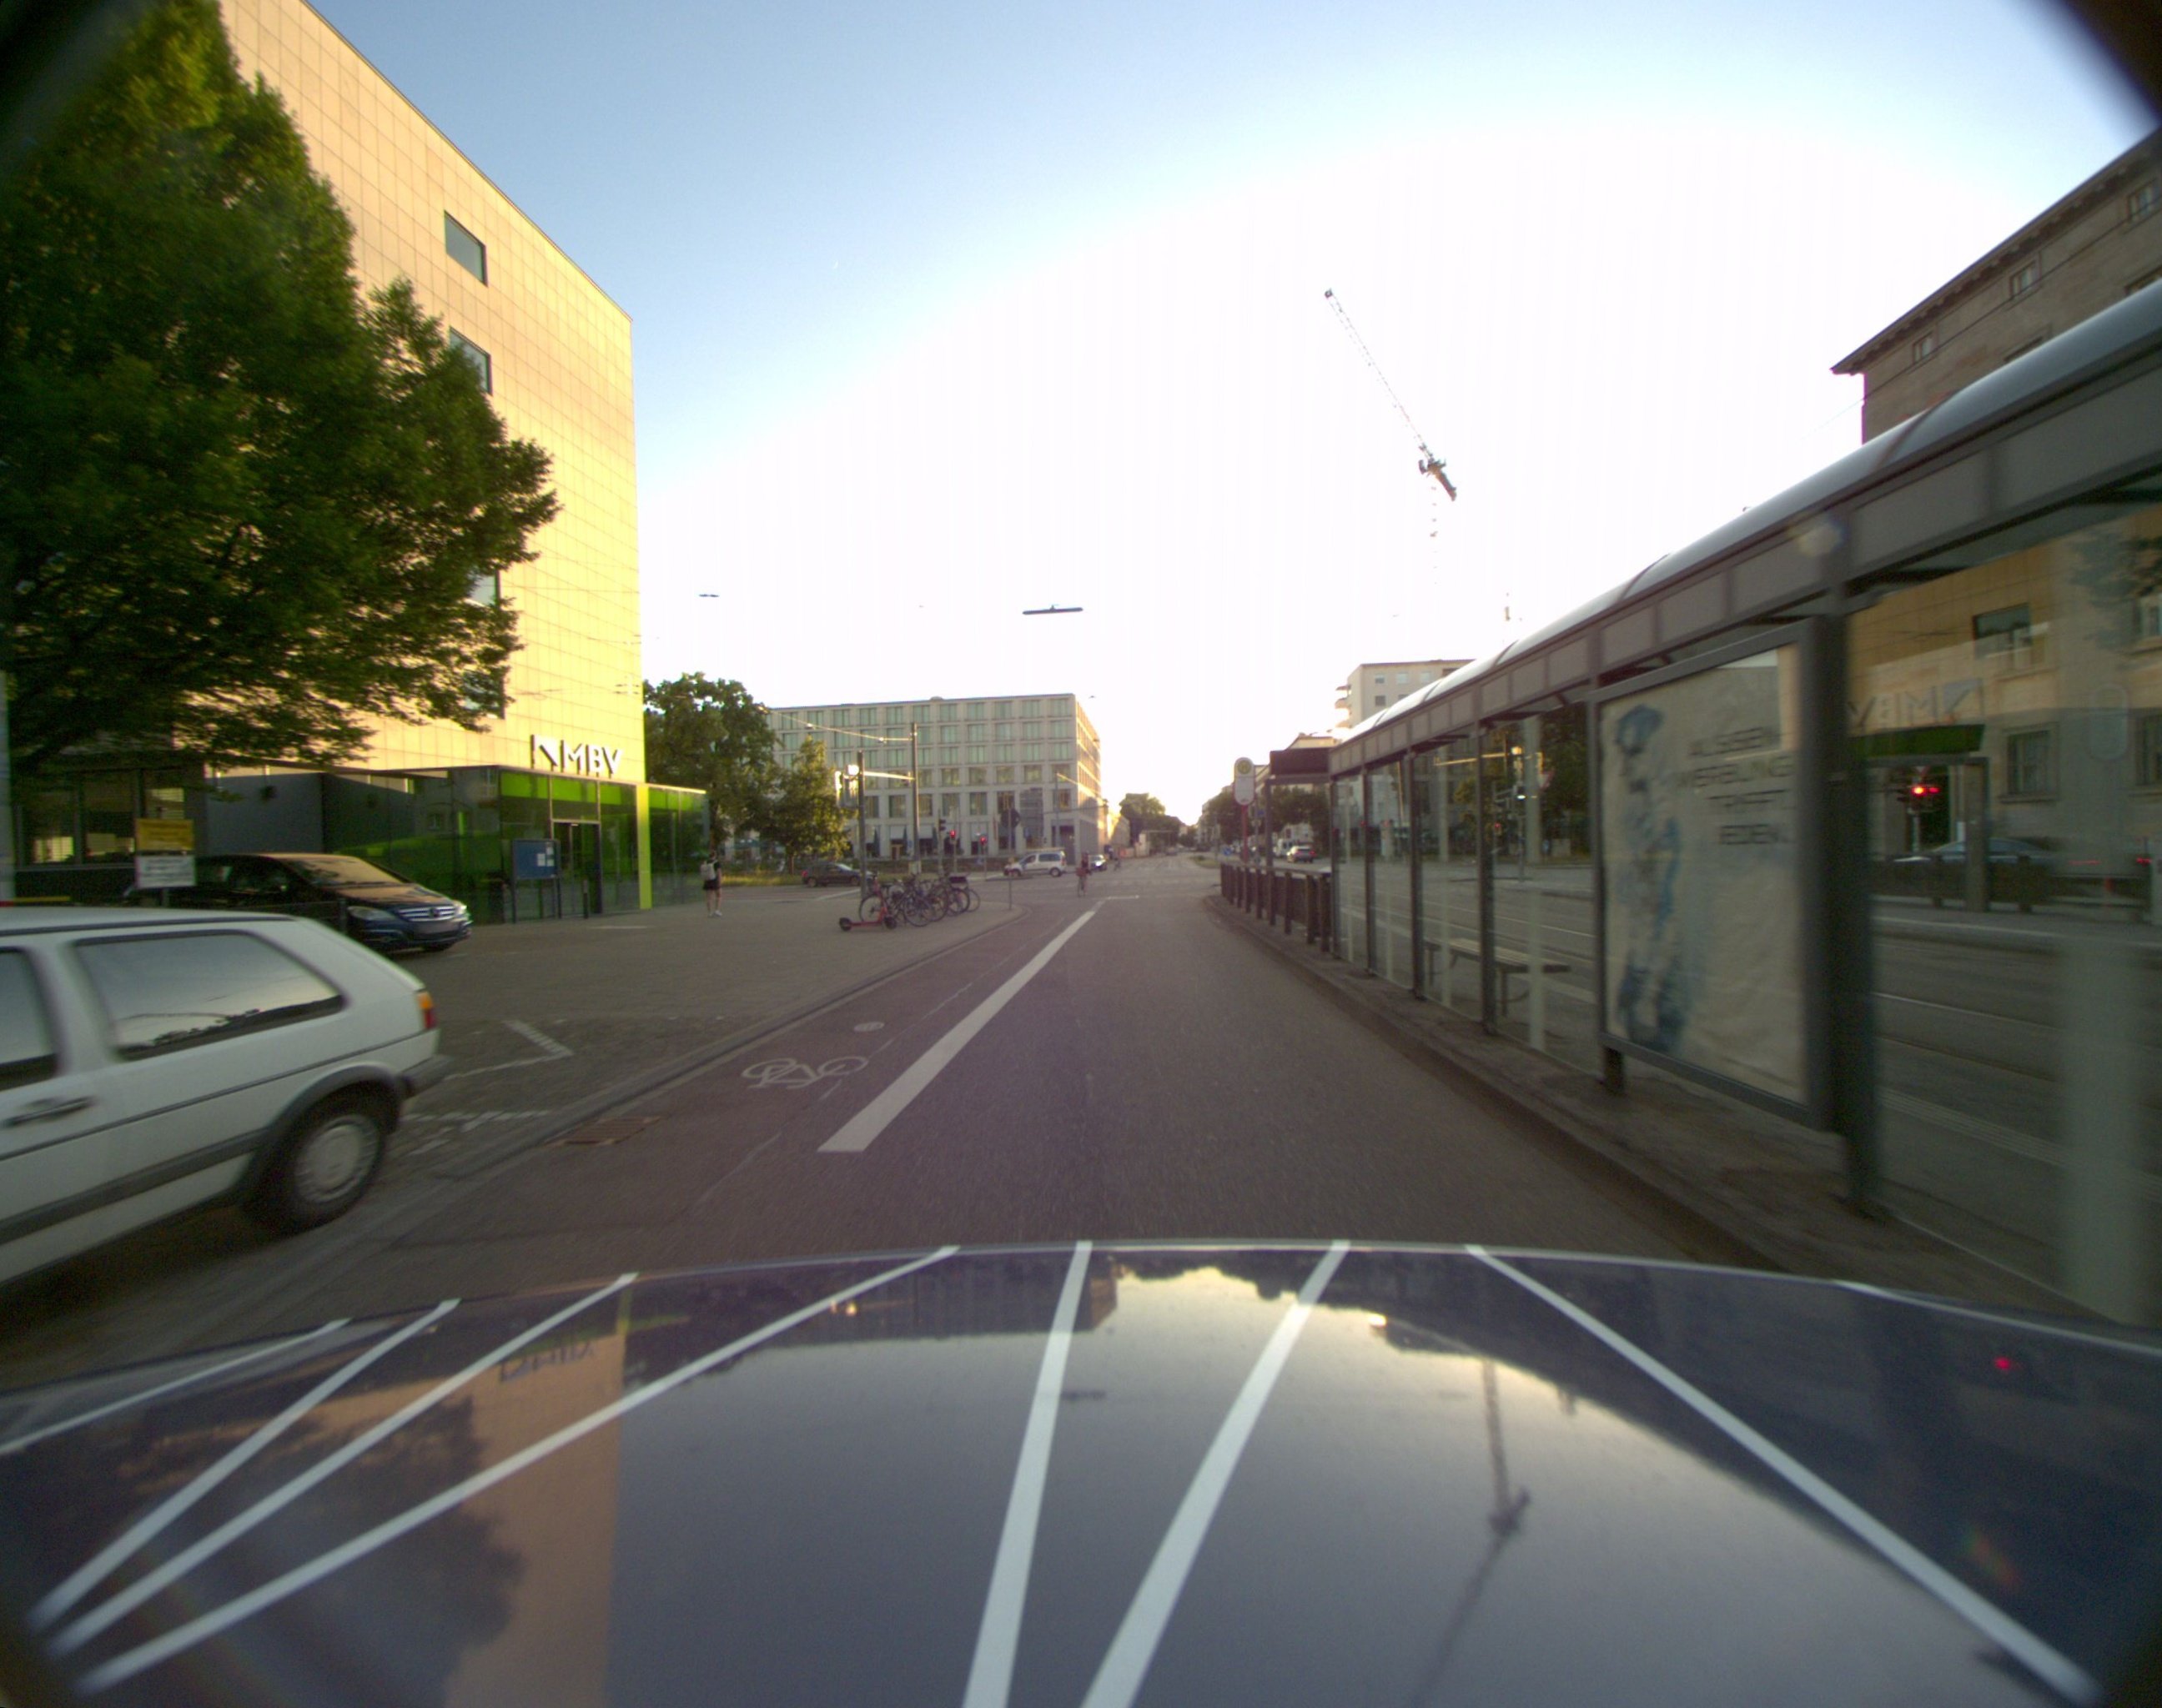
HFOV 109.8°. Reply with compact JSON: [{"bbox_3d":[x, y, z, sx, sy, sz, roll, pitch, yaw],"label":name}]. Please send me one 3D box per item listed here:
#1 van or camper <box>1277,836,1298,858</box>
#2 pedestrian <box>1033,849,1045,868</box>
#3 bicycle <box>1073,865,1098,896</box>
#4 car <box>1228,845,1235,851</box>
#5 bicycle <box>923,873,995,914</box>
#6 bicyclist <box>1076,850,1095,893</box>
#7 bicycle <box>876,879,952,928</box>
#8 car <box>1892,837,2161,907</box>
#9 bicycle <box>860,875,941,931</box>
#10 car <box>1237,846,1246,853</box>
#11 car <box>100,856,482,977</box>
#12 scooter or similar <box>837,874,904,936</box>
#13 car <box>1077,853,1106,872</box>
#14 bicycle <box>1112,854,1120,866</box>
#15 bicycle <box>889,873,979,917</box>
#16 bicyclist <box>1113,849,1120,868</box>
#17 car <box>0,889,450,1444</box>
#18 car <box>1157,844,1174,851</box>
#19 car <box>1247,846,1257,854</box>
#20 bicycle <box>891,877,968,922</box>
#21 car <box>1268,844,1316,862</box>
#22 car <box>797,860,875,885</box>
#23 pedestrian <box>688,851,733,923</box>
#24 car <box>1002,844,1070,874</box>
[{"bbox_3d":[27.150,-0.882,100.004,2.109,2.665,4.715,-2,-2,9],"label":"van or camper"},{"bbox_3d":[-3.602,0.411,65.097,0.736,1.617,0.727,-1,1,39],"label":"pedestrian"},{"bbox_3d":[0.194,0.992,29.324,0.609,1.108,2.087,-1,0,9],"label":"bicycle"},{"bbox_3d":[39.542,-1.517,199.386,1.721,1.422,3.812,-1,0,10],"label":"car"},{"bbox_3d":[-3.432,1.107,21.299,1.861,1.068,0.745,-1,1,24],"label":"bicycle"},{"bbox_3d":[0.182,0.681,29.224,0.609,1.626,0.597,-1,1,8],"label":"bicyclist"},{"bbox_3d":[-3.901,1.146,17.802,1.554,1.068,0.744,-2,1,9],"label":"bicycle"},{"bbox_3d":[22.009,0.364,17.880,1.646,1.419,4.234,-2,0,7],"label":"car"},{"bbox_3d":[-3.961,1.069,16.718,1.529,1.156,0.744,-2,1,9],"label":"bicycle"},{"bbox_3d":[34.789,-0.948,164.907,1.721,1.422,3.812,-1,0,10],"label":"car"},{"bbox_3d":[-11.414,0.867,11.145,3.992,1.564,1.805,-1,0,7],"label":"car"},{"bbox_3d":[-4.333,1.038,15.676,1.202,1.218,0.591,0,1,7],"label":"scooter or similar"},{"bbox_3d":[0.993,0.753,69.407,1.814,1.514,4.814,-3,0,11],"label":"car"},{"bbox_3d":[3.119,0.549,67.059,0.540,1.045,1.762,-1,0,8],"label":"bicycle"},{"bbox_3d":[-3.916,1.092,20.344,2.234,1.125,0.744,0,1,9],"label":"bicycle"},{"bbox_3d":[3.104,0.418,67.050,0.540,1.626,0.597,-1,1,7],"label":"bicyclist"},{"bbox_3d":[-4.059,0.980,1.908,1.684,1.544,3.999,1,0,-2],"label":"car"},{"bbox_3d":[19.272,-1.495,173.914,3.804,1.639,1.864,-1,0,7],"label":"car"},{"bbox_3d":[32.824,-0.708,145.647,1.721,1.422,3.812,-1,0,10],"label":"car"},{"bbox_3d":[-3.896,1.156,19.544,1.758,1.068,0.744,-2,1,9],"label":"bicycle"},{"bbox_3d":[20.363,-0.063,73.543,1.890,1.654,4.335,-2,1,-33],"label":"car"},{"bbox_3d":[-14.932,1.142,46.455,4.167,1.412,1.699,-1,1,8],"label":"car"},{"bbox_3d":[-9.348,0.804,19.201,0.708,1.757,0.988,-2,1,-8],"label":"pedestrian"},{"bbox_3d":[-3.092,0.355,52.918,4.460,1.900,1.806,-2,1,6],"label":"car"}]
